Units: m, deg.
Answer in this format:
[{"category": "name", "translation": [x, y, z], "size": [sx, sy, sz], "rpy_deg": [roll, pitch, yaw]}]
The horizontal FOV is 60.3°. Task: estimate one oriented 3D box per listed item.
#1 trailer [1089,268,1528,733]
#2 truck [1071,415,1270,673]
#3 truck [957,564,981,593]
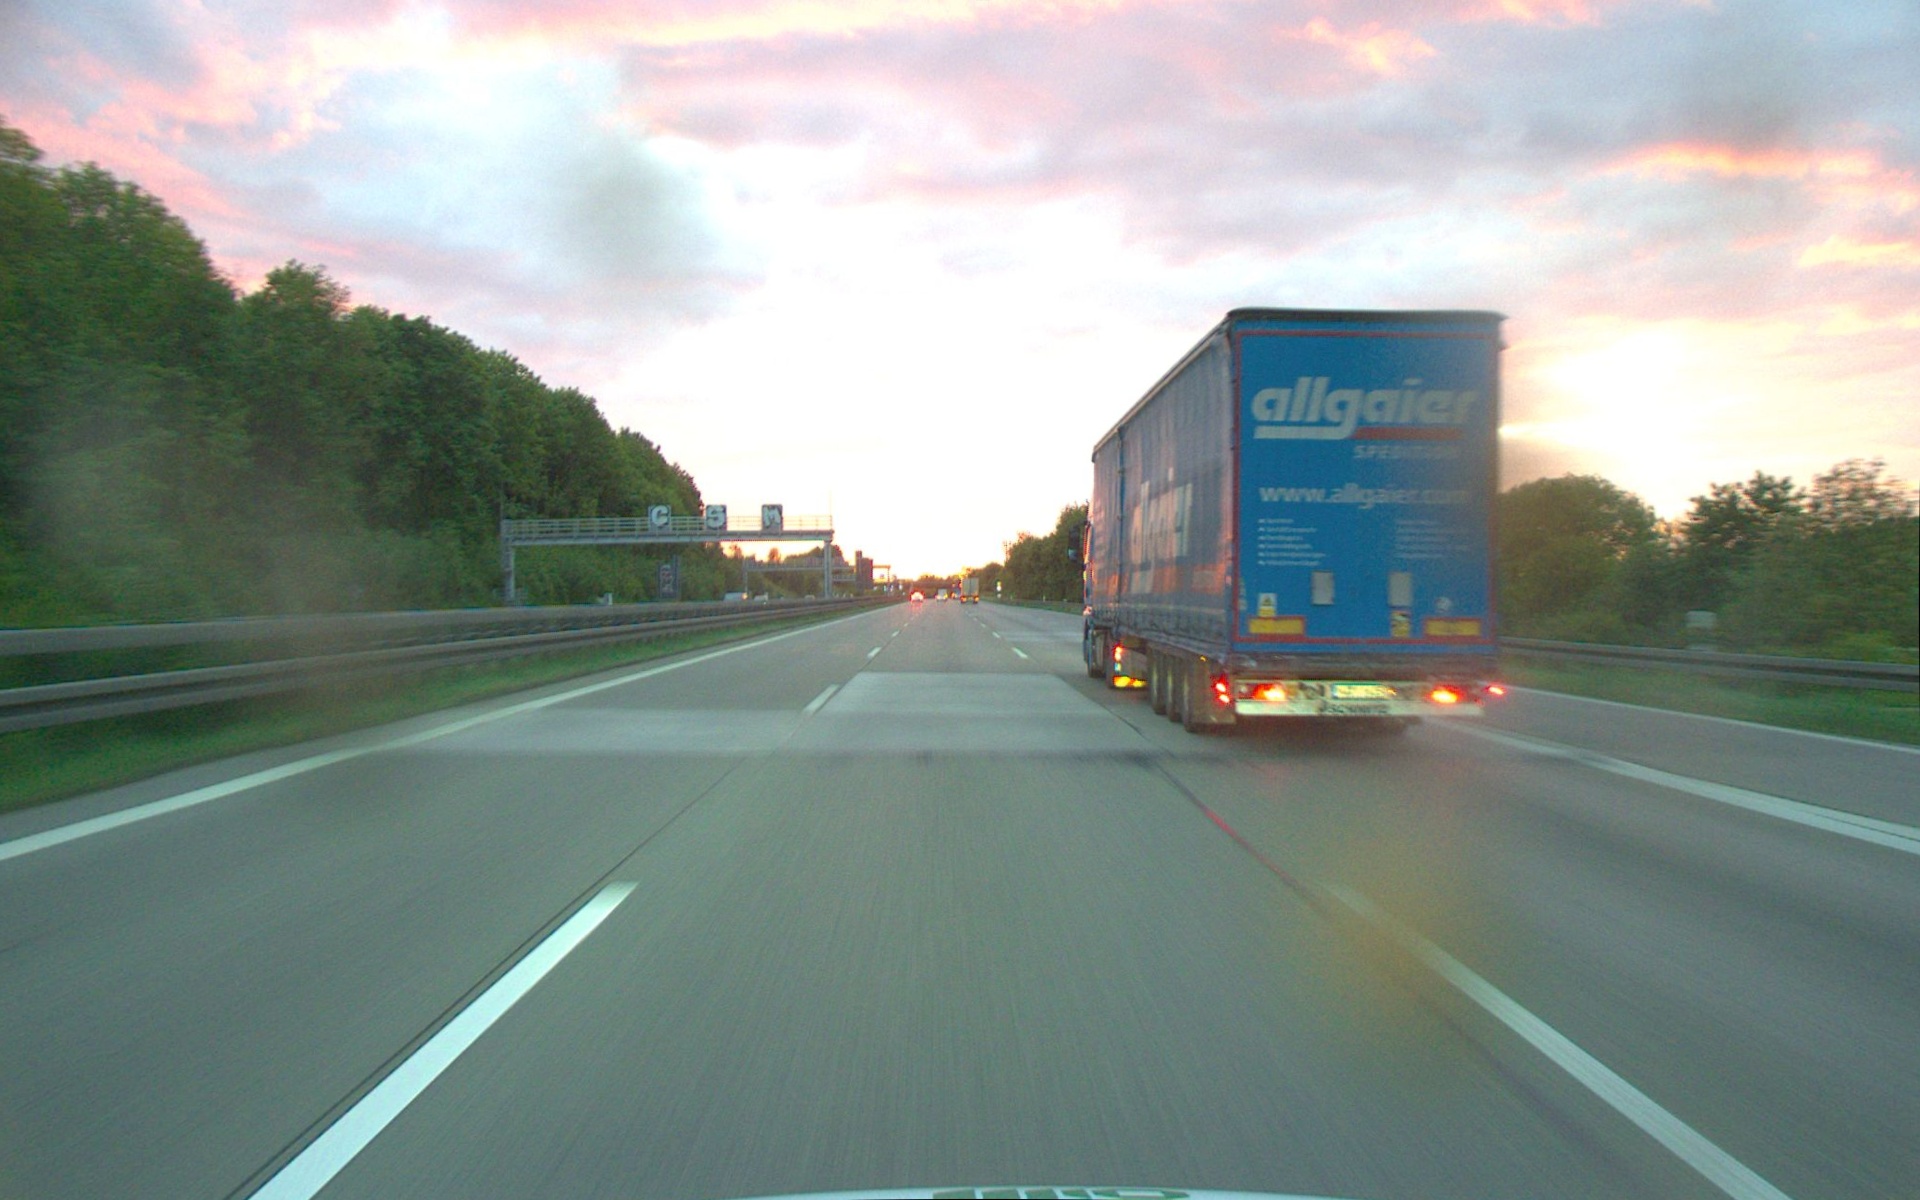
[{"category": "trailer", "translation": [3.686, -0.926, 21.789], "size": [2.715, 4.158, 13.737], "rpy_deg": [1, 0, -1]}, {"category": "truck", "translation": [3.534, -0.908, 29.180], "size": [2.681, 4.066, 5.848], "rpy_deg": [1, 0, -1]}, {"category": "truck", "translation": [1.355, -3.268, 250.183], "size": [3.179, 4.199, 9.782], "rpy_deg": [-1, 0, -2]}]
